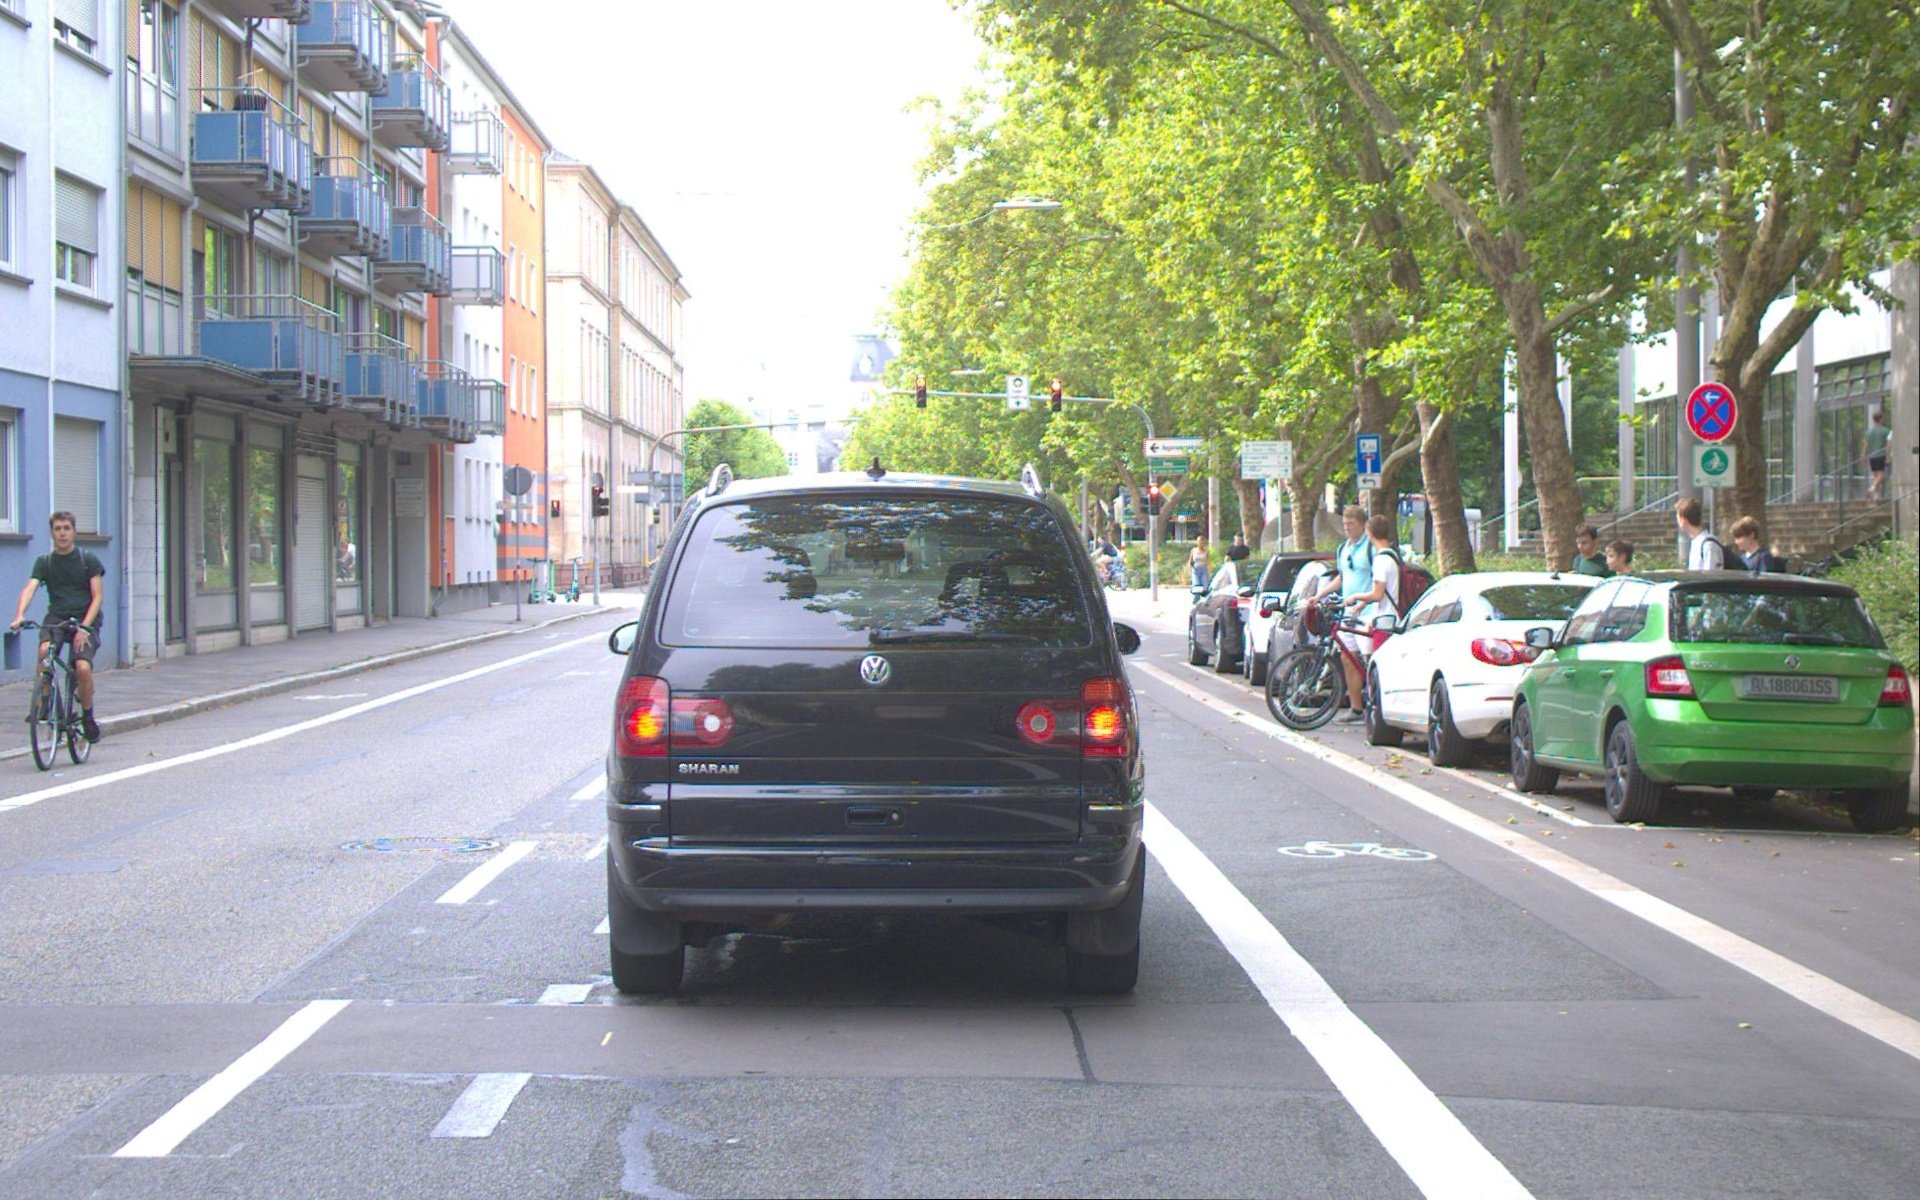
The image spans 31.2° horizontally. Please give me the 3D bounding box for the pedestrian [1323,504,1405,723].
[{"bbox_3d":[3.598,0.114,30.657,0.474,1.928,0.745,1,1,-12],"label":"pedestrian"}]

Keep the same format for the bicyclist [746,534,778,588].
[{"bbox_3d":[-5.775,-1.139,100.330,0.855,1.562,0.577,1,0,-9],"label":"bicyclist"}]

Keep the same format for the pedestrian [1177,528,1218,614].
[{"bbox_3d":[5.002,-0.615,72.422,0.710,1.777,1.034,-2,0,-2],"label":"pedestrian"}]

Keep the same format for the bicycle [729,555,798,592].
[{"bbox_3d":[-5.736,-0.774,100.333,1.924,1.025,0.583,1,1,-9],"label":"bicycle"}]

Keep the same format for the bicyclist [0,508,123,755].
[{"bbox_3d":[-6.742,0.230,25.796,0.652,1.804,1.046,-1,0,-1],"label":"bicyclist"}]

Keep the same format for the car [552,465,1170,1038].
[{"bbox_3d":[-0.387,0.418,12.745,1.874,1.739,4.574,0,1,-2],"label":"car"}]

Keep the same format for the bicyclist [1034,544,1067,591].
[{"bbox_3d":[2.840,-1.018,107.502,0.914,1.461,0.570,1,1,-11],"label":"bicyclist"}]

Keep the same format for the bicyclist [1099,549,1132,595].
[{"bbox_3d":[4.927,-0.894,109.115,0.914,1.461,0.570,1,1,-13],"label":"bicyclist"}]

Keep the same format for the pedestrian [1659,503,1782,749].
[{"bbox_3d":[6.275,0.207,28.396,0.793,1.990,0.750,1,1,-1],"label":"pedestrian"}]

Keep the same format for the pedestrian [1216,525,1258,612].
[{"bbox_3d":[5.823,-0.661,72.378,0.715,1.794,1.034,-2,0,-2],"label":"pedestrian"}]

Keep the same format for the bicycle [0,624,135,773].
[{"bbox_3d":[-6.727,0.715,25.700,0.646,1.011,2.077,-1,1,-1],"label":"bicycle"}]

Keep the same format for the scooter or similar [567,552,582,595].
[{"bbox_3d":[-10.565,-0.719,94.204,0.378,1.140,1.142,0,-1,-4],"label":"scooter or similar"}]

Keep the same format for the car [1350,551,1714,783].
[{"bbox_3d":[4.178,0.427,25.835,1.680,1.511,4.545,2,1,-3],"label":"car"}]

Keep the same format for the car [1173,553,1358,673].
[{"bbox_3d":[3.888,0.130,44.398,1.697,1.420,4.423,1,1,-4],"label":"car"}]

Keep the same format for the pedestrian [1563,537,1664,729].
[{"bbox_3d":[5.714,0.279,30.084,0.721,1.652,0.655,1,1,-1],"label":"pedestrian"}]

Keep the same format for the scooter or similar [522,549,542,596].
[{"bbox_3d":[-10.877,-0.691,87.396,0.378,1.179,1.390,0,-1,-1],"label":"scooter or similar"}]

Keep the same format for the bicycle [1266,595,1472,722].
[{"bbox_3d":[3.675,0.527,30.937,1.734,1.102,0.552,1,1,-12],"label":"bicycle"}]

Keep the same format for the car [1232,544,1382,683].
[{"bbox_3d":[4.051,0.136,40.379,1.535,1.538,2.599,2,1,2],"label":"car"}]

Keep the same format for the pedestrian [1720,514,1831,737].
[{"bbox_3d":[6.907,0.207,29.136,0.721,1.848,0.703,1,1,-1],"label":"pedestrian"}]

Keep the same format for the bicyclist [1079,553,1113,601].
[{"bbox_3d":[4.192,-0.702,106.236,0.914,1.461,0.570,1,1,-11],"label":"bicyclist"}]

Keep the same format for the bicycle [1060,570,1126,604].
[{"bbox_3d":[4.115,-0.403,106.227,1.924,1.025,0.583,1,1,-11],"label":"bicycle"}]

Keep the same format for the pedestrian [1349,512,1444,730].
[{"bbox_3d":[3.725,0.173,29.388,0.519,1.839,0.745,1,1,-16],"label":"pedestrian"}]

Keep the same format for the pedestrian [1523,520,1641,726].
[{"bbox_3d":[5.575,0.200,30.862,0.871,1.810,0.780,1,1,-1],"label":"pedestrian"}]

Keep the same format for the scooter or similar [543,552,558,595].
[{"bbox_3d":[-11.166,-0.723,93.753,0.378,1.143,1.142,0,-1,-4],"label":"scooter or similar"}]

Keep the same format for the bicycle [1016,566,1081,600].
[{"bbox_3d":[2.760,-0.539,107.493,1.924,1.025,0.583,1,1,-11],"label":"bicycle"}]

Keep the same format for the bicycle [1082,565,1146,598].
[{"bbox_3d":[4.885,-0.579,109.118,1.924,1.025,0.583,1,1,-14],"label":"bicycle"}]

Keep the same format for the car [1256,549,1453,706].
[{"bbox_3d":[4.025,0.244,35.541,1.528,1.497,3.660,1,1,-1],"label":"car"}]

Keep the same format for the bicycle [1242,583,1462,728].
[{"bbox_3d":[3.372,0.480,29.597,1.788,1.213,0.553,1,1,-18],"label":"bicycle"}]

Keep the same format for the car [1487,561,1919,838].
[{"bbox_3d":[4.424,0.532,20.946,1.587,1.445,3.806,2,1,-3],"label":"car"}]
